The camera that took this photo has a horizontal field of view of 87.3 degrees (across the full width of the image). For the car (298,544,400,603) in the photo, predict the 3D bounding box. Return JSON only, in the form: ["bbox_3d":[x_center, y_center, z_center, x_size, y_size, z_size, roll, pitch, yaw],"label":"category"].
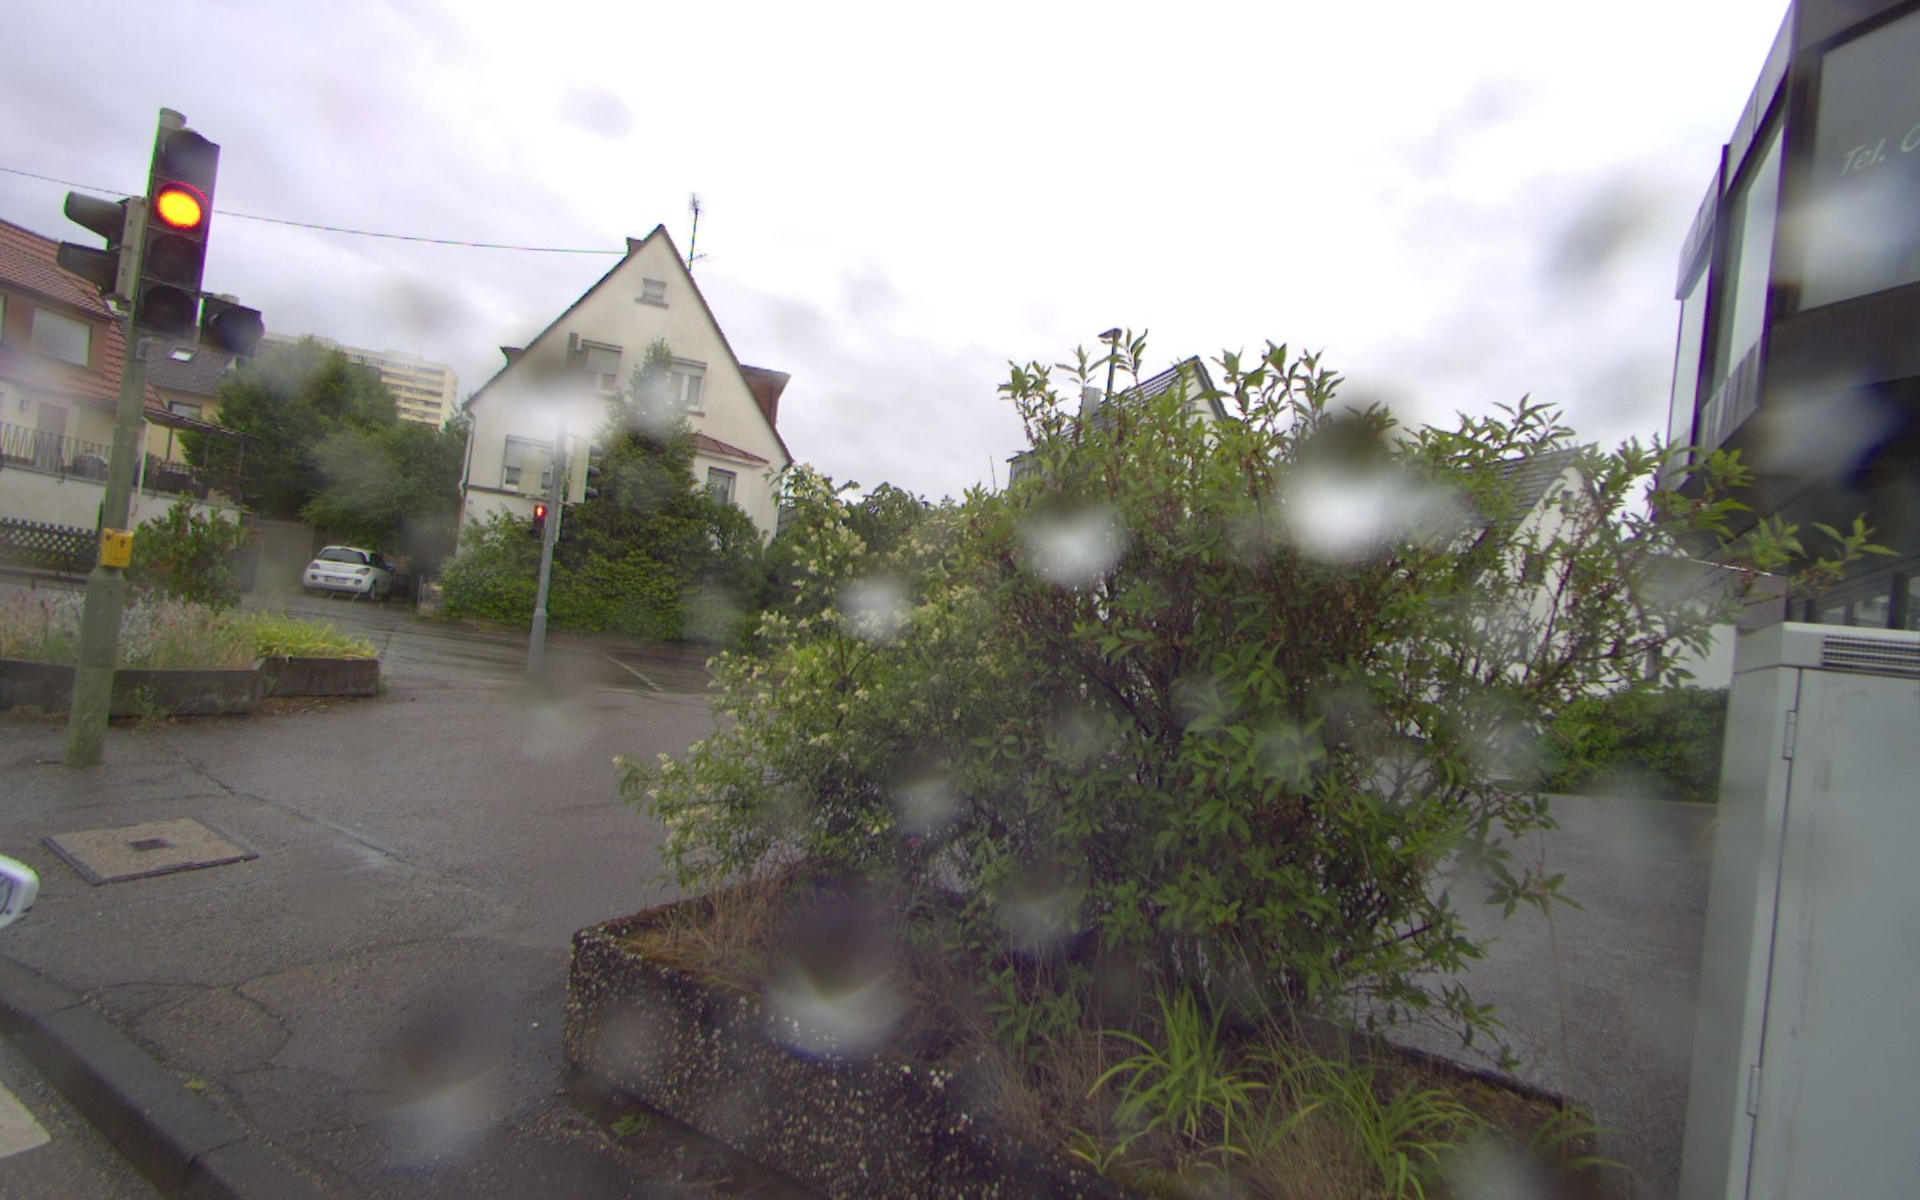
[{"bbox_3d":[-17.741,-0.746,29.410,1.794,1.378,3.981,8,-2,-22],"label":"car"}]

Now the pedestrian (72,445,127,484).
[{"bbox_3d":[-24.258,-3.802,28.360,0.623,0.893,0.920,5,-2,13],"label":"pedestrian"}]
